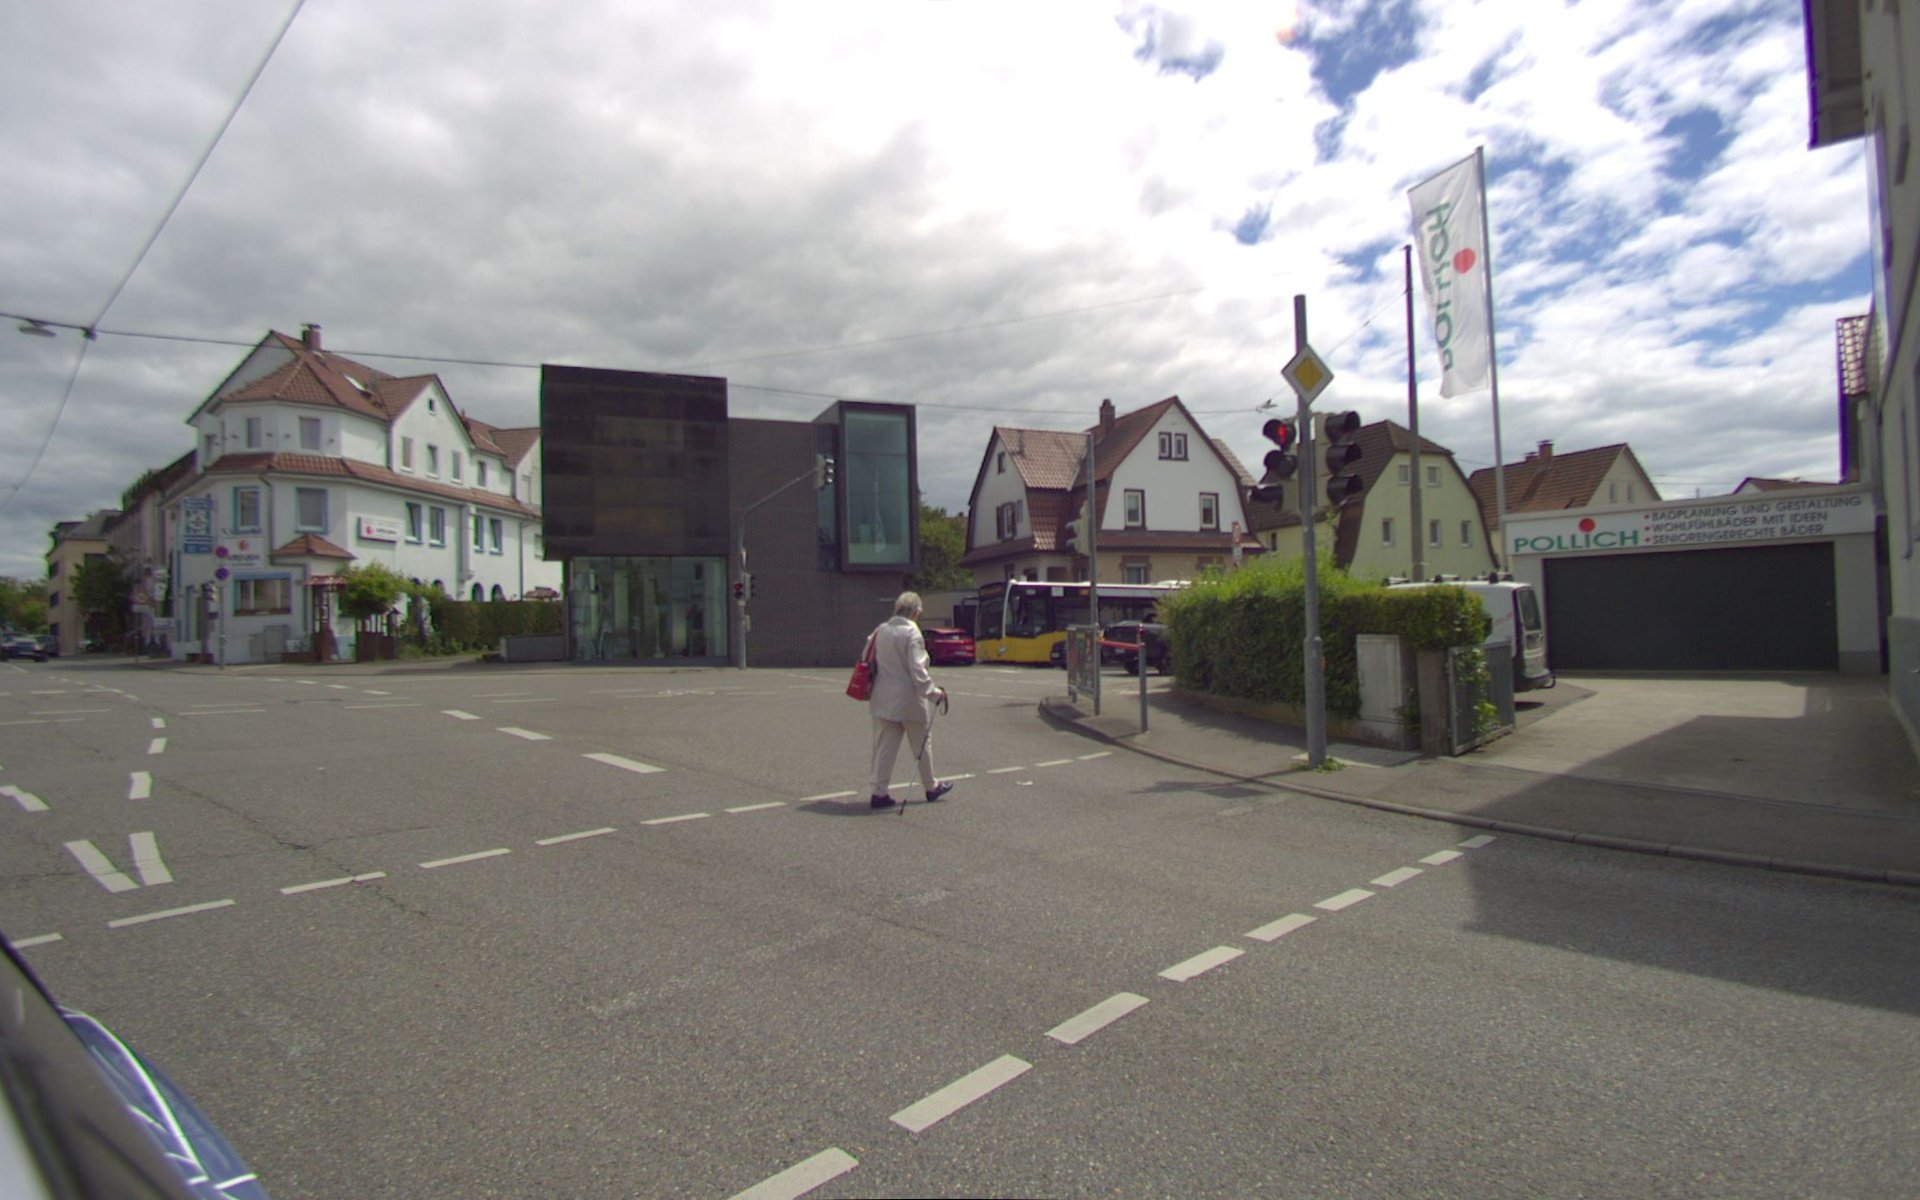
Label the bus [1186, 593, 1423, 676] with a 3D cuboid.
[{"bbox_3d":[13.282,1.329,38.858,9.031,2.937,2.796,1,-2,-24],"label":"bus"}]

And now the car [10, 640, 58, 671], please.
[{"bbox_3d":[-61.429,3.657,67.117,3.999,2.029,1.972,-2,-3,42],"label":"car"}]

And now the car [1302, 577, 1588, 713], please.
[{"bbox_3d":[8.201,0.754,17.314,4.000,2.029,1.972,-2,-3,43],"label":"car"}]

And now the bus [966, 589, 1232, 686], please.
[{"bbox_3d":[4.893,1.290,35.238,9.031,3.083,2.796,1,-2,-24],"label":"bus"}]

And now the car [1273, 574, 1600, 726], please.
[{"bbox_3d":[7.013,0.711,15.115,3.999,1.962,1.972,-2,-2,42],"label":"car"}]

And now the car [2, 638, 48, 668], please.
[{"bbox_3d":[-65.270,3.653,70.619,3.999,2.029,1.972,-2,-3,42],"label":"car"}]

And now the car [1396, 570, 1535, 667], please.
[{"bbox_3d":[12.058,0.481,23.940,1.997,2.029,5.059,-2,-3,37],"label":"car"}]

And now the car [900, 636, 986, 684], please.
[{"bbox_3d":[-0.742,2.384,40.942,1.965,1.652,4.013,1,0,-26],"label":"car"}]

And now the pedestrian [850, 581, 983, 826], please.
[{"bbox_3d":[-0.338,0.715,7.359,0.823,1.650,0.876,0,-2,-13],"label":"pedestrian"}]

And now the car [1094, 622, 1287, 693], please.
[{"bbox_3d":[6.481,1.567,28.382,5.130,1.863,1.894,1,-3,-24],"label":"car"}]

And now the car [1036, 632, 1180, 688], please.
[{"bbox_3d":[4.571,1.825,31.399,3.930,1.652,2.006,1,-2,-22],"label":"car"}]

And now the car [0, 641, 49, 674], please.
[{"bbox_3d":[-46.989,2.866,50.511,4.002,1.542,1.971,-2,-6,45],"label":"car"}]
